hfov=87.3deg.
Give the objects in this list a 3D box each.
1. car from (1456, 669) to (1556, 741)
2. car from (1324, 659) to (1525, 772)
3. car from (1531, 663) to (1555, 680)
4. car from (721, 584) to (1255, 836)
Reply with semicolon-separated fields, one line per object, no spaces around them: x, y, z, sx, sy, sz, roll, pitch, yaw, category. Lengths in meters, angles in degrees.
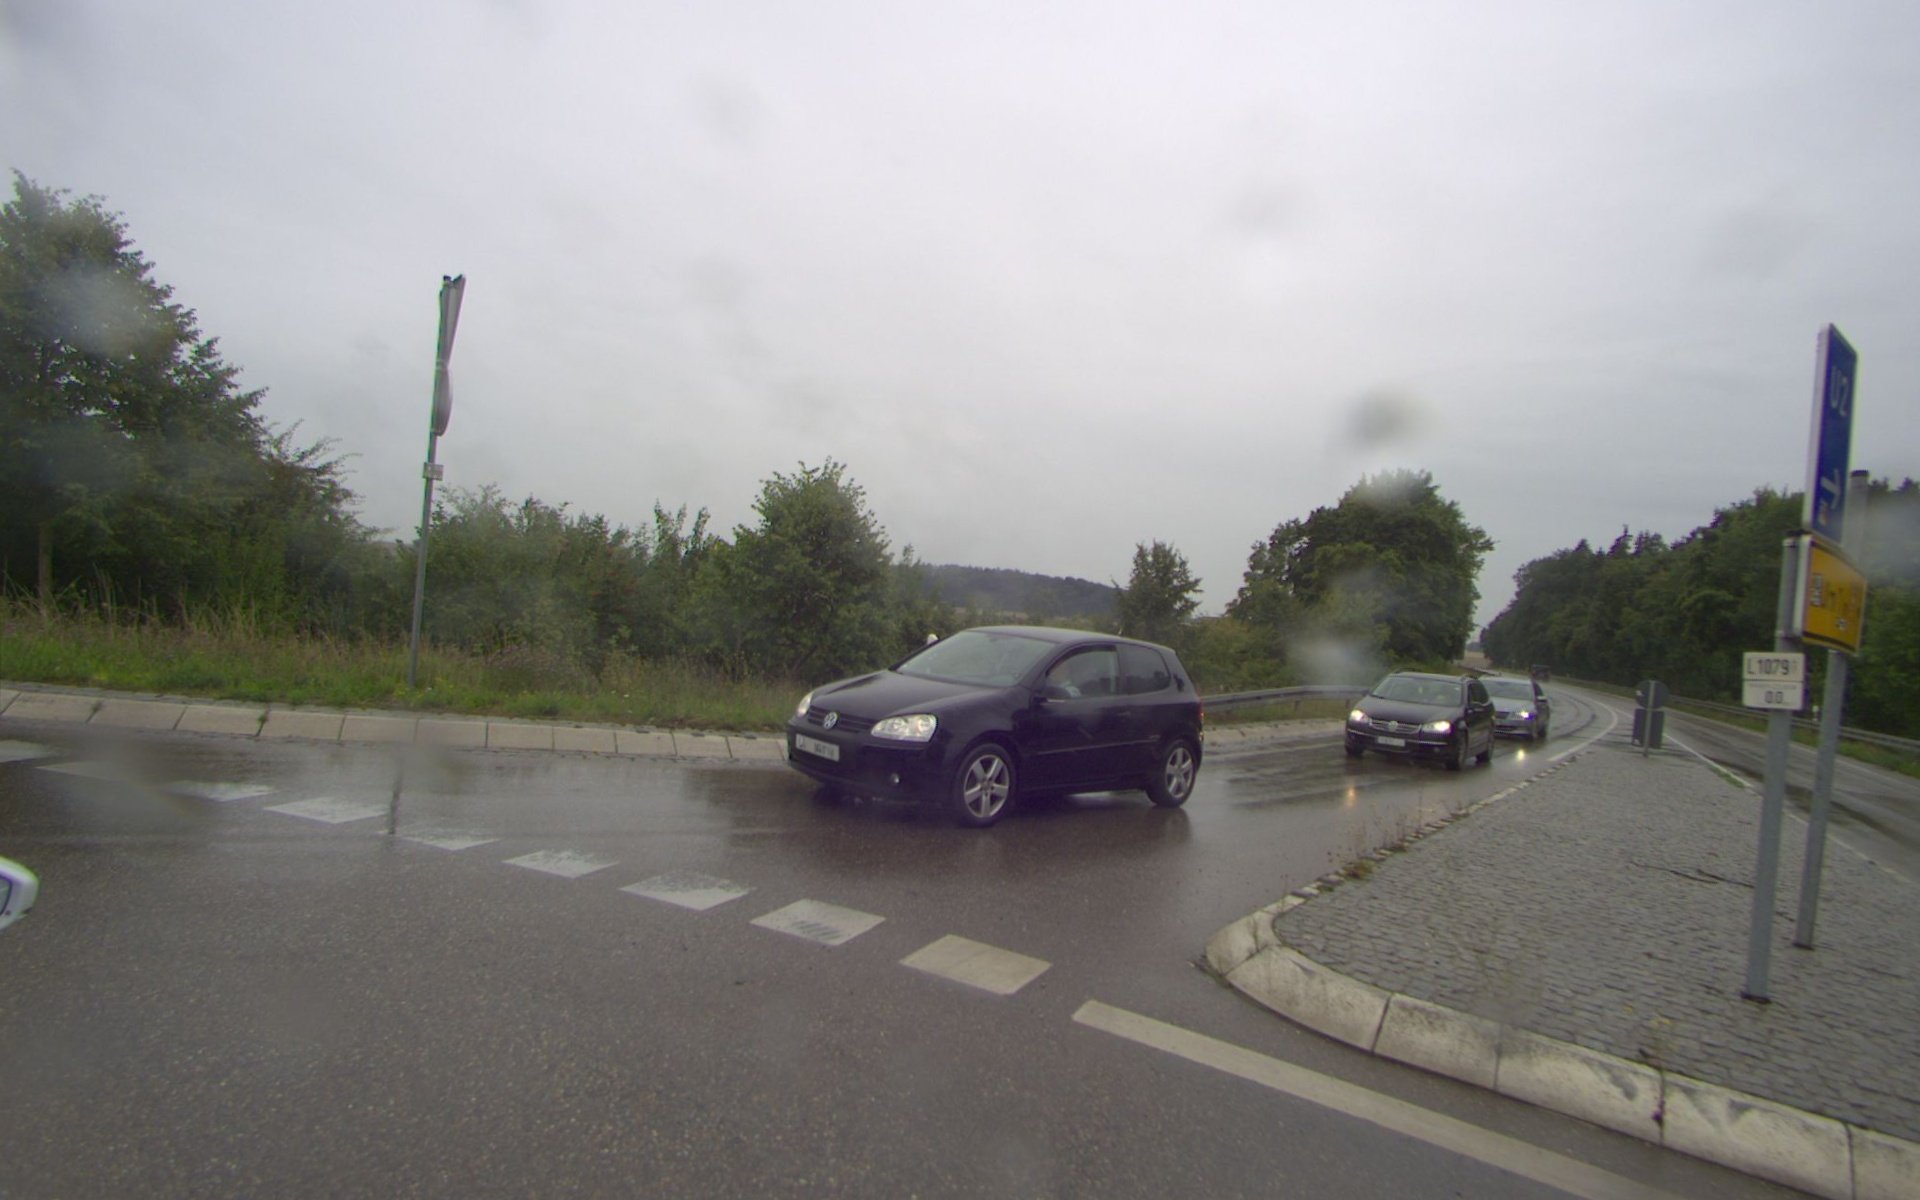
13.928;2.649;25.531;1.736;1.438;4.493;7;-1;34;car
7.902;1.920;16.858;1.921;1.387;4.487;7;-1;39;car
71.035;8.732;122.693;1.964;1.596;3.994;6;2;24;car
0.491;0.904;8.474;1.850;1.438;4.479;7;-1;44;car
